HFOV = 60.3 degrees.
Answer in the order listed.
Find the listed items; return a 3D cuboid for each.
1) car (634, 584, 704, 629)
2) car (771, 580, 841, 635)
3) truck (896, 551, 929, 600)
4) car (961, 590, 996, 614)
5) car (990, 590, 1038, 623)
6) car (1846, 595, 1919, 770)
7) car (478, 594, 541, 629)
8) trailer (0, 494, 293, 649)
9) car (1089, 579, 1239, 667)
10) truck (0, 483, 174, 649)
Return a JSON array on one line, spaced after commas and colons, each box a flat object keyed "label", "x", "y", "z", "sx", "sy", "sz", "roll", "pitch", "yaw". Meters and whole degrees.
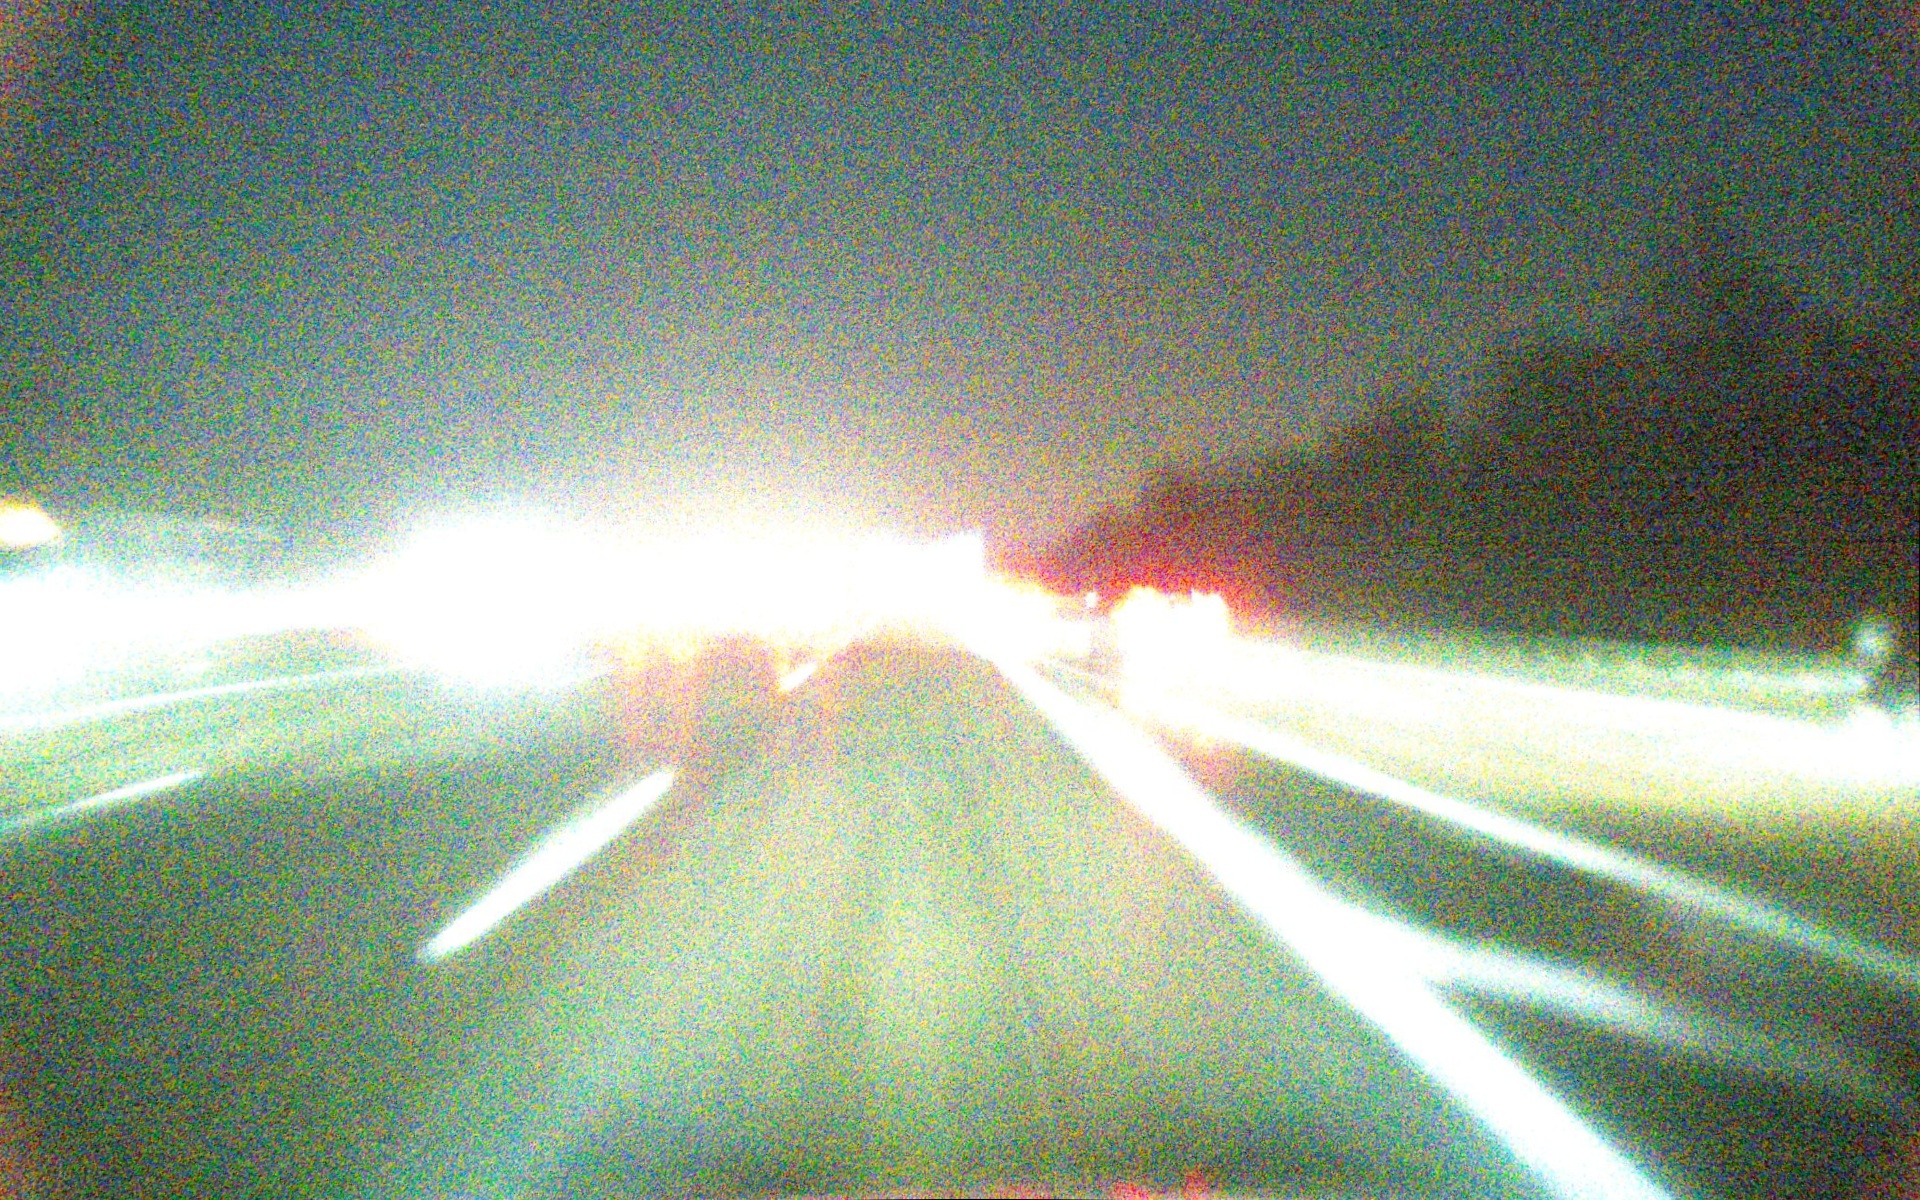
[{"label": "car", "x": -9.022, "y": 0.231, "z": 51.491, "sx": 1.629, "sy": 1.258, "sz": 3.758, "roll": -3, "pitch": -1, "yaw": -3}, {"label": "car", "x": -4.489, "y": 0.191, "z": 48.550, "sx": 1.765, "sy": 1.513, "sz": 3.999, "roll": 1, "pitch": 0, "yaw": -2}, {"label": "truck", "x": -3.265, "y": -1.676, "z": 115.420, "sx": 1.953, "sy": 3.095, "sz": 6.464, "roll": -3, "pitch": -1, "yaw": 0}, {"label": "car", "x": 0.980, "y": 0.121, "z": 87.346, "sx": 1.550, "sy": 1.268, "sz": 3.065, "roll": 0, "pitch": -1, "yaw": -5}, {"label": "car", "x": 2.176, "y": 0.240, "z": 67.033, "sx": 1.550, "sy": 1.268, "sz": 3.065, "roll": 1, "pitch": 0, "yaw": -5}, {"label": "car", "x": 9.356, "y": 0.743, "z": 13.612, "sx": 1.686, "sy": 1.523, "sz": 4.039, "roll": 0, "pitch": 1, "yaw": -6}, {"label": "car", "x": -18.829, "y": 0.508, "z": 69.315, "sx": 1.581, "sy": 1.322, "sz": 3.701, "roll": -3, "pitch": -1, "yaw": 0}, {"label": "trailer", "x": -25.052, "y": -0.659, "z": 51.958, "sx": 2.757, "sy": 4.068, "sz": 13.924, "roll": -3, "pitch": -1, "yaw": -2}, {"label": "car", "x": 3.873, "y": 0.394, "z": 32.313, "sx": 2.017, "sy": 1.545, "sz": 5.012, "roll": 1, "pitch": 0, "yaw": -4}, {"label": "truck", "x": -24.791, "y": -0.783, "z": 45.560, "sx": 2.757, "sy": 4.076, "sz": 7.346, "roll": -3, "pitch": -1, "yaw": -2}]
